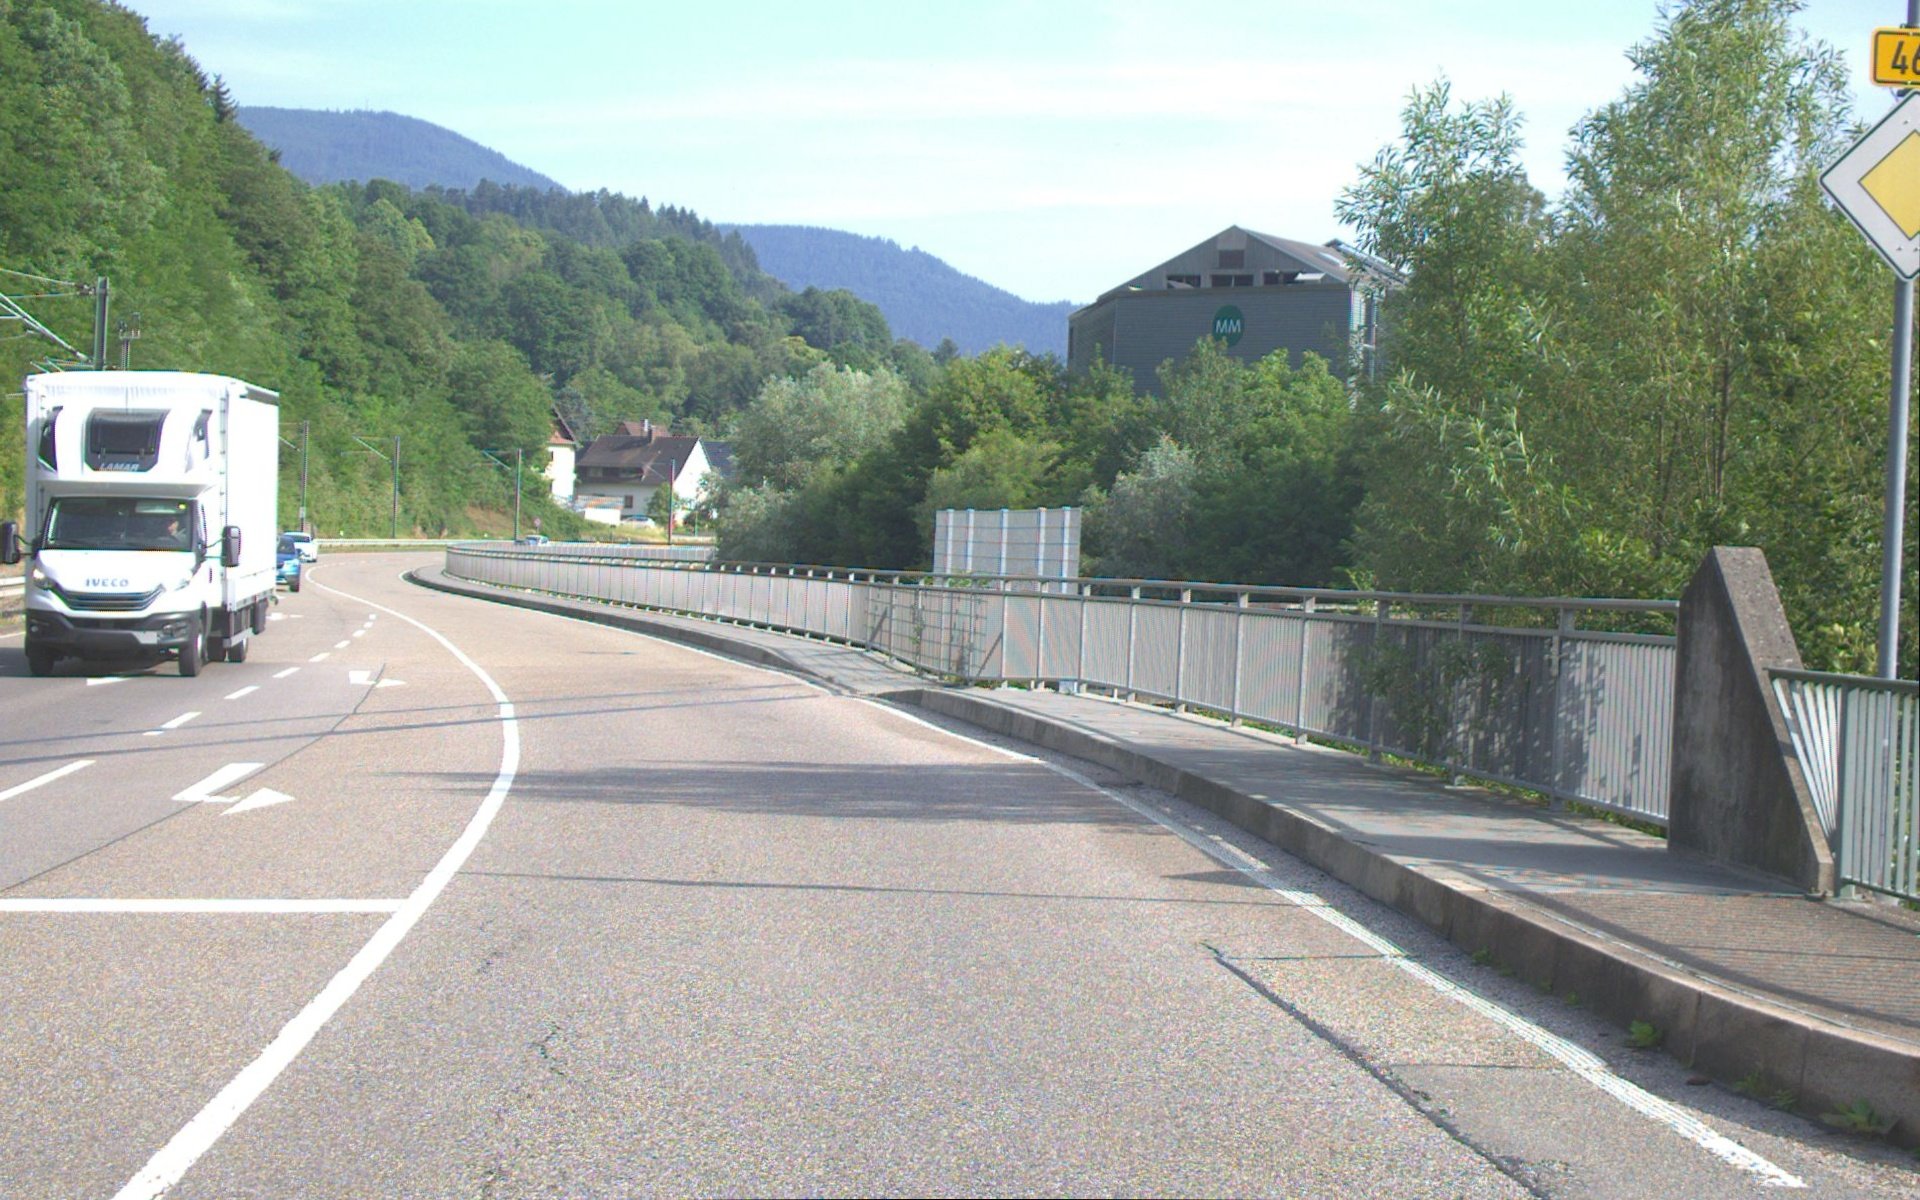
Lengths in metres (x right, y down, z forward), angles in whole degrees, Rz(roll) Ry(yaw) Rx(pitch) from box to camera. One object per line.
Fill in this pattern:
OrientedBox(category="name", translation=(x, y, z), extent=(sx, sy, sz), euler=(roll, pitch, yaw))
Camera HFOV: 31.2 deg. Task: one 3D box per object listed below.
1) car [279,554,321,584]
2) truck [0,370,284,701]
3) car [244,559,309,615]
OrientedBox(category="car", translation=(-33.080, -1.548, 172.330), extent=(2.063, 1.434, 4.687), euler=(1, 0, -11))
OrientedBox(category="truck", translation=(-10.427, -0.791, 44.093), extent=(2.896, 3.786, 8.896), euler=(1, 1, -8))
OrientedBox(category="car", translation=(-19.711, -0.385, 99.045), extent=(1.718, 1.565, 4.136), euler=(1, 0, -12))
